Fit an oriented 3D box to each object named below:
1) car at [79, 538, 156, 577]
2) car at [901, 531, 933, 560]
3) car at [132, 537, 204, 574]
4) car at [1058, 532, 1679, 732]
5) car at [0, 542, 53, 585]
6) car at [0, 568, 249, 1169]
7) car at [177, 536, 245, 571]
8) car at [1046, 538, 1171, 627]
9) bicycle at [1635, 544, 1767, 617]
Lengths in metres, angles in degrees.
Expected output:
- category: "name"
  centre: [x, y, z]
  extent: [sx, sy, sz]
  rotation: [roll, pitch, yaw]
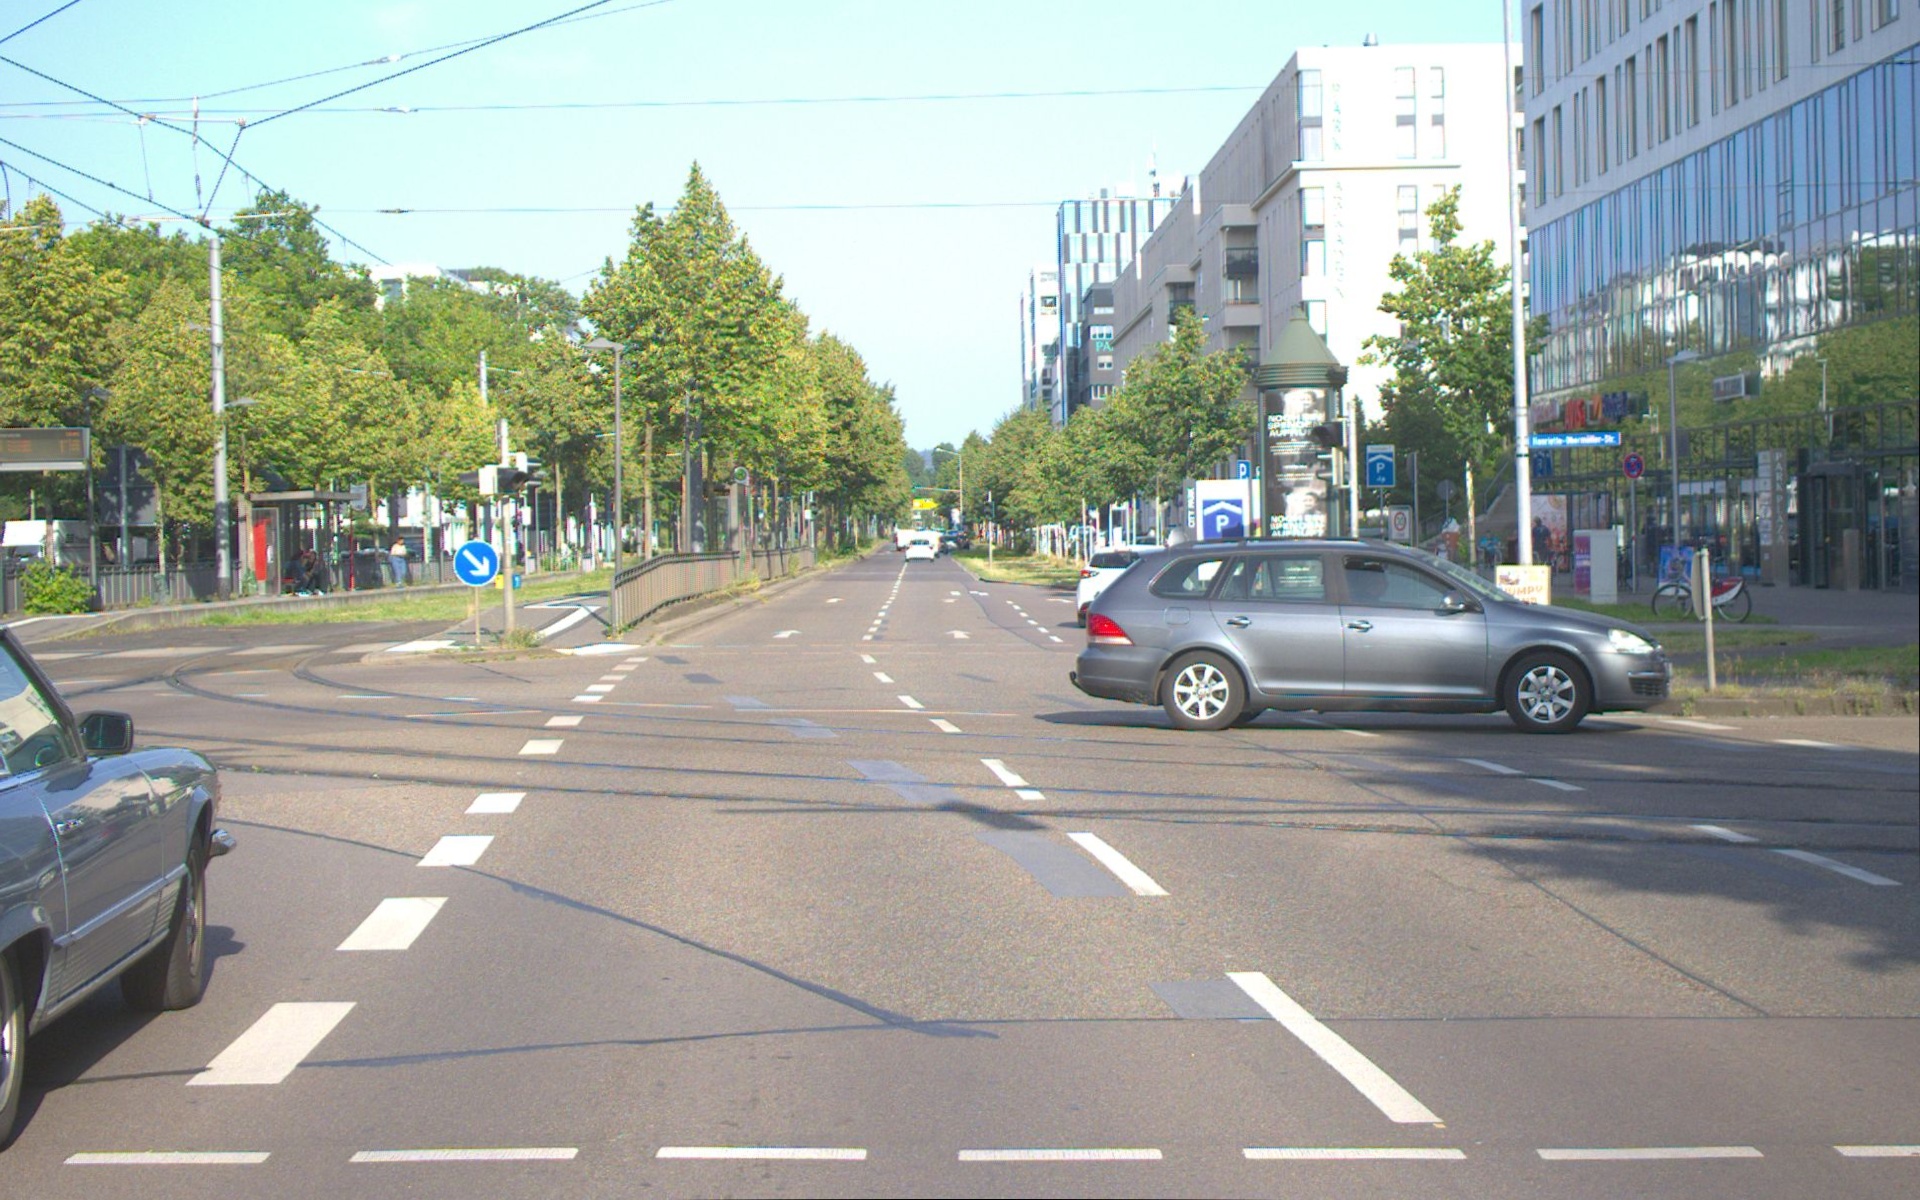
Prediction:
- category: "car"
  centre: [-35.083, -1.785, 143.233]
  extent: [1.881, 1.554, 3.999]
  rotation: [-1, 1, 5]
- category: "car"
  centre: [-2.552, -3.252, 205.073]
  extent: [1.864, 1.678, 4.000]
  rotation: [1, 2, 0]
- category: "car"
  centre: [-34.425, -1.950, 149.517]
  extent: [1.881, 1.554, 3.999]
  rotation: [-1, 1, 5]
- category: "car"
  centre: [3.169, 0.214, 26.491]
  extent: [4.562, 1.456, 1.733]
  rotation: [0, 1, 14]
- category: "car"
  centre: [-35.700, -1.373, 129.099]
  extent: [1.881, 1.554, 3.999]
  rotation: [-1, 1, 5]
- category: "car"
  centre: [-3.141, 0.625, 9.041]
  extent: [1.763, 1.325, 4.400]
  rotation: [0, 2, -2]
- category: "car"
  centre: [-33.952, -2.121, 155.939]
  extent: [1.881, 1.554, 3.999]
  rotation: [-1, 1, 5]
- category: "car"
  centre: [2.666, -0.301, 62.722]
  extent: [1.993, 1.499, 4.093]
  rotation: [-2, 0, -1]
- category: "bicycle"
  centre: [11.411, -0.308, 52.981]
  extent: [0.771, 1.028, 1.878]
  rotation: [-2, 4, -44]
